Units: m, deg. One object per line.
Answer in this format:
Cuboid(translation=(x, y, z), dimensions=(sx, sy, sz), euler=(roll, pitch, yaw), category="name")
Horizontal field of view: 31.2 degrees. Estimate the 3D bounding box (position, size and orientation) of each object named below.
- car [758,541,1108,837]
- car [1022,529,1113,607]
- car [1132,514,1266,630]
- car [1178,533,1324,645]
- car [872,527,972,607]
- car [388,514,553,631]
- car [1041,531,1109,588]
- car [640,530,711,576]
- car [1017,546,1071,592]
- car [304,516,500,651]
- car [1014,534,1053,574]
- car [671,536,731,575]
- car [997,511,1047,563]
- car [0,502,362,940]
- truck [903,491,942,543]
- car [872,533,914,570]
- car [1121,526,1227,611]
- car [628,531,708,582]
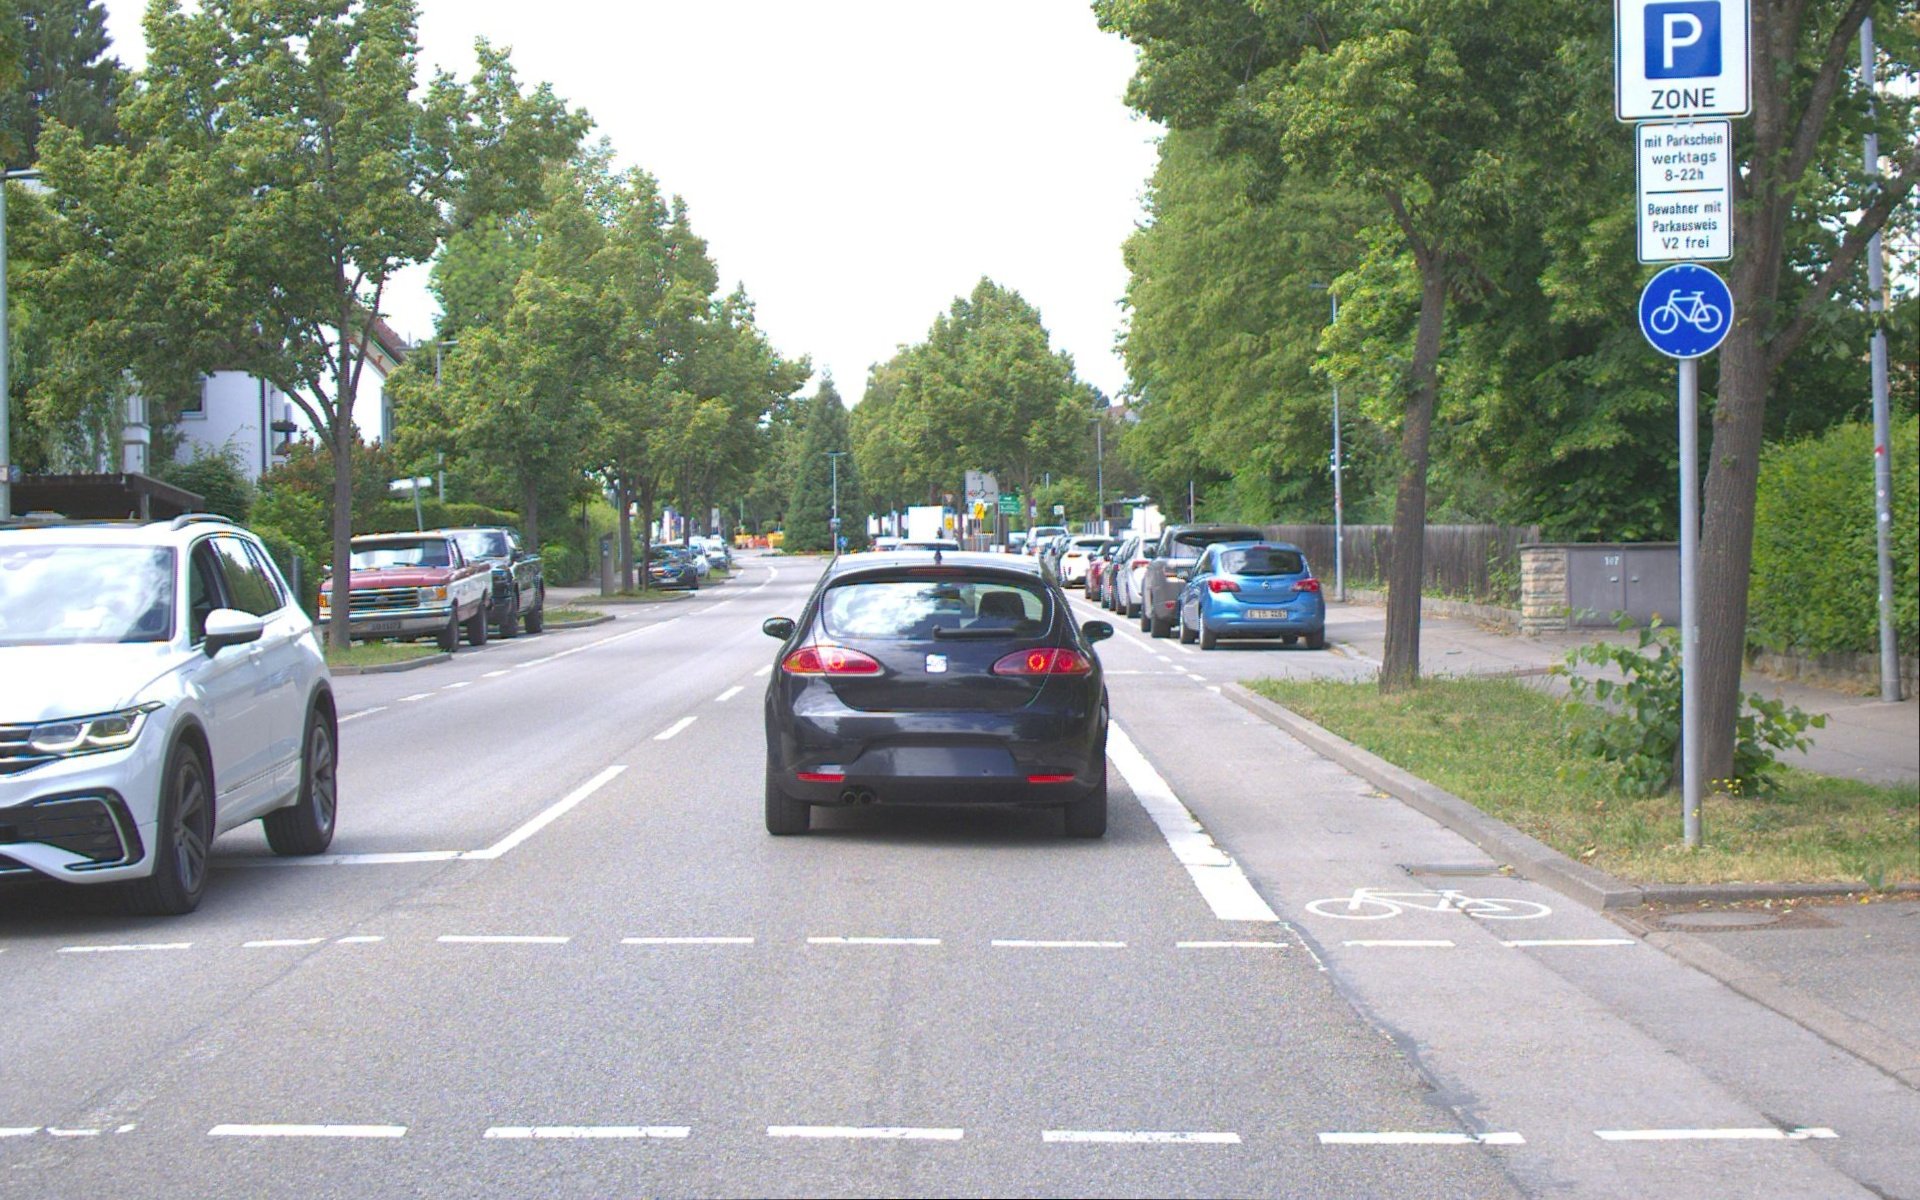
Cuboid(translation=(-0.202, 0.403, 18.431), dimensions=(1.662, 1.396, 3.812), euler=(1, 1, -2), category="car")
Cuboid(translation=(2.211, -0.678, 71.656), dimensions=(1.688, 1.559, 4.214), euler=(-1, 1, -1), category="car")
Cuboid(translation=(3.650, -0.457, 53.007), dimensions=(1.688, 1.705, 4.214), euler=(-1, 1, -1), category="car")
Cuboid(translation=(4.015, -0.183, 47.842), dimensions=(1.688, 1.485, 3.355), euler=(-1, 1, -1), category="car")
Cuboid(translation=(-0.728, -0.666, 67.963), dimensions=(1.846, 1.504, 3.812), euler=(1, 1, 1), category="car")
Cuboid(translation=(-8.578, -0.511, 60.723), dimensions=(2.100, 1.890, 5.784), euler=(-2, 1, -1), category="car")
Cuboid(translation=(3.188, -1.146, 96.173), dimensions=(1.688, 1.559, 4.214), euler=(-1, 1, -1), category="car")
Cuboid(translation=(-10.160, -1.700, 123.200), dimensions=(2.100, 1.501, 5.784), euler=(-2, 1, -1), category="car")
Cuboid(translation=(2.926, -1.113, 120.648), dimensions=(1.688, 1.559, 4.214), euler=(-1, 1, -1), category="car")
Cuboid(translation=(-8.550, -0.291, 53.201), dimensions=(2.100, 1.890, 5.784), euler=(-2, 1, -1), category="car")
Cuboid(translation=(3.480, -2.187, 163.964), dimensions=(1.688, 1.869, 4.214), euler=(-1, 1, -1), category="car")
Cuboid(translation=(-10.818, -1.874, 143.712), dimensions=(2.100, 1.501, 5.784), euler=(-2, 1, -1), category="car")
Cuboid(translation=(2.277, -2.346, 127.391), dimensions=(1.688, 1.869, 4.214), euler=(-1, 1, -1), category="car")
Cuboid(translation=(-4.015, 0.442, 15.118), dimensions=(1.875, 1.629, 4.340), euler=(-2, 1, 1), category="car")
Cuboid(translation=(-2.396, -5.258, 218.979), dimensions=(2.279, 3.093, 8.511), euler=(1, 1, -2), category="truck")
Cuboid(translation=(-3.098, -2.275, 159.365), dimensions=(1.881, 1.683, 4.214), euler=(-1, 1, -1), category="car")
Cuboid(translation=(4.060, -0.626, 65.782), dimensions=(1.688, 1.559, 4.214), euler=(-1, 1, -1), category="car")
Cuboid(translation=(-9.348, -1.405, 110.435), dimensions=(2.100, 1.501, 5.784), euler=(-2, 1, -1), category="car")
